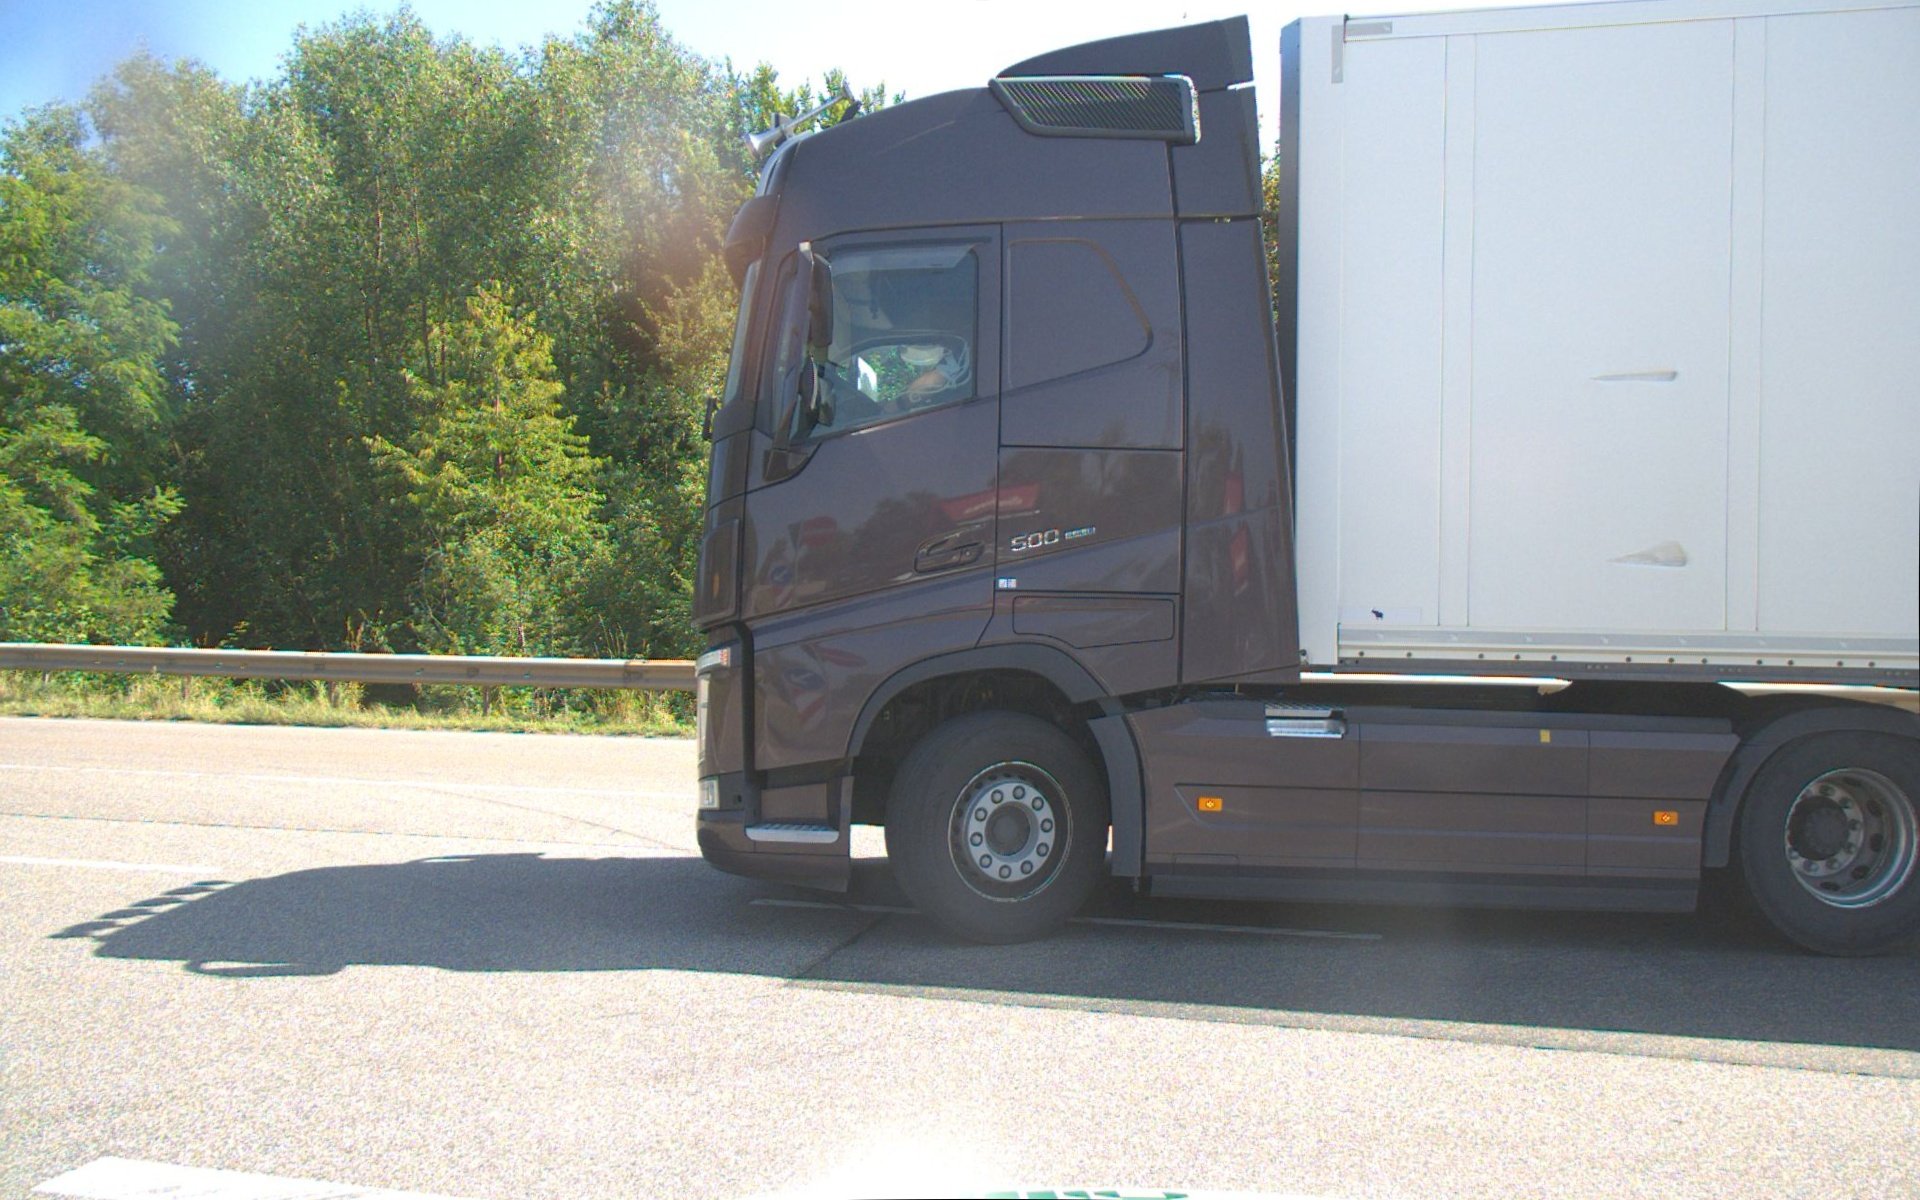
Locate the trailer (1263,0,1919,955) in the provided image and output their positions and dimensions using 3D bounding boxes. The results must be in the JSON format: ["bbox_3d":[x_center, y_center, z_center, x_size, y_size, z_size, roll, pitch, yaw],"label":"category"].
[{"bbox_3d":[8.322,-0.649,7.183,13.637,4.238,2.899,1,0,13],"label":"trailer"}]

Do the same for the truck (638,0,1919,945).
[{"bbox_3d":[1.625,-0.733,8.328,5.828,4.246,2.880,1,0,1],"label":"truck"}]
